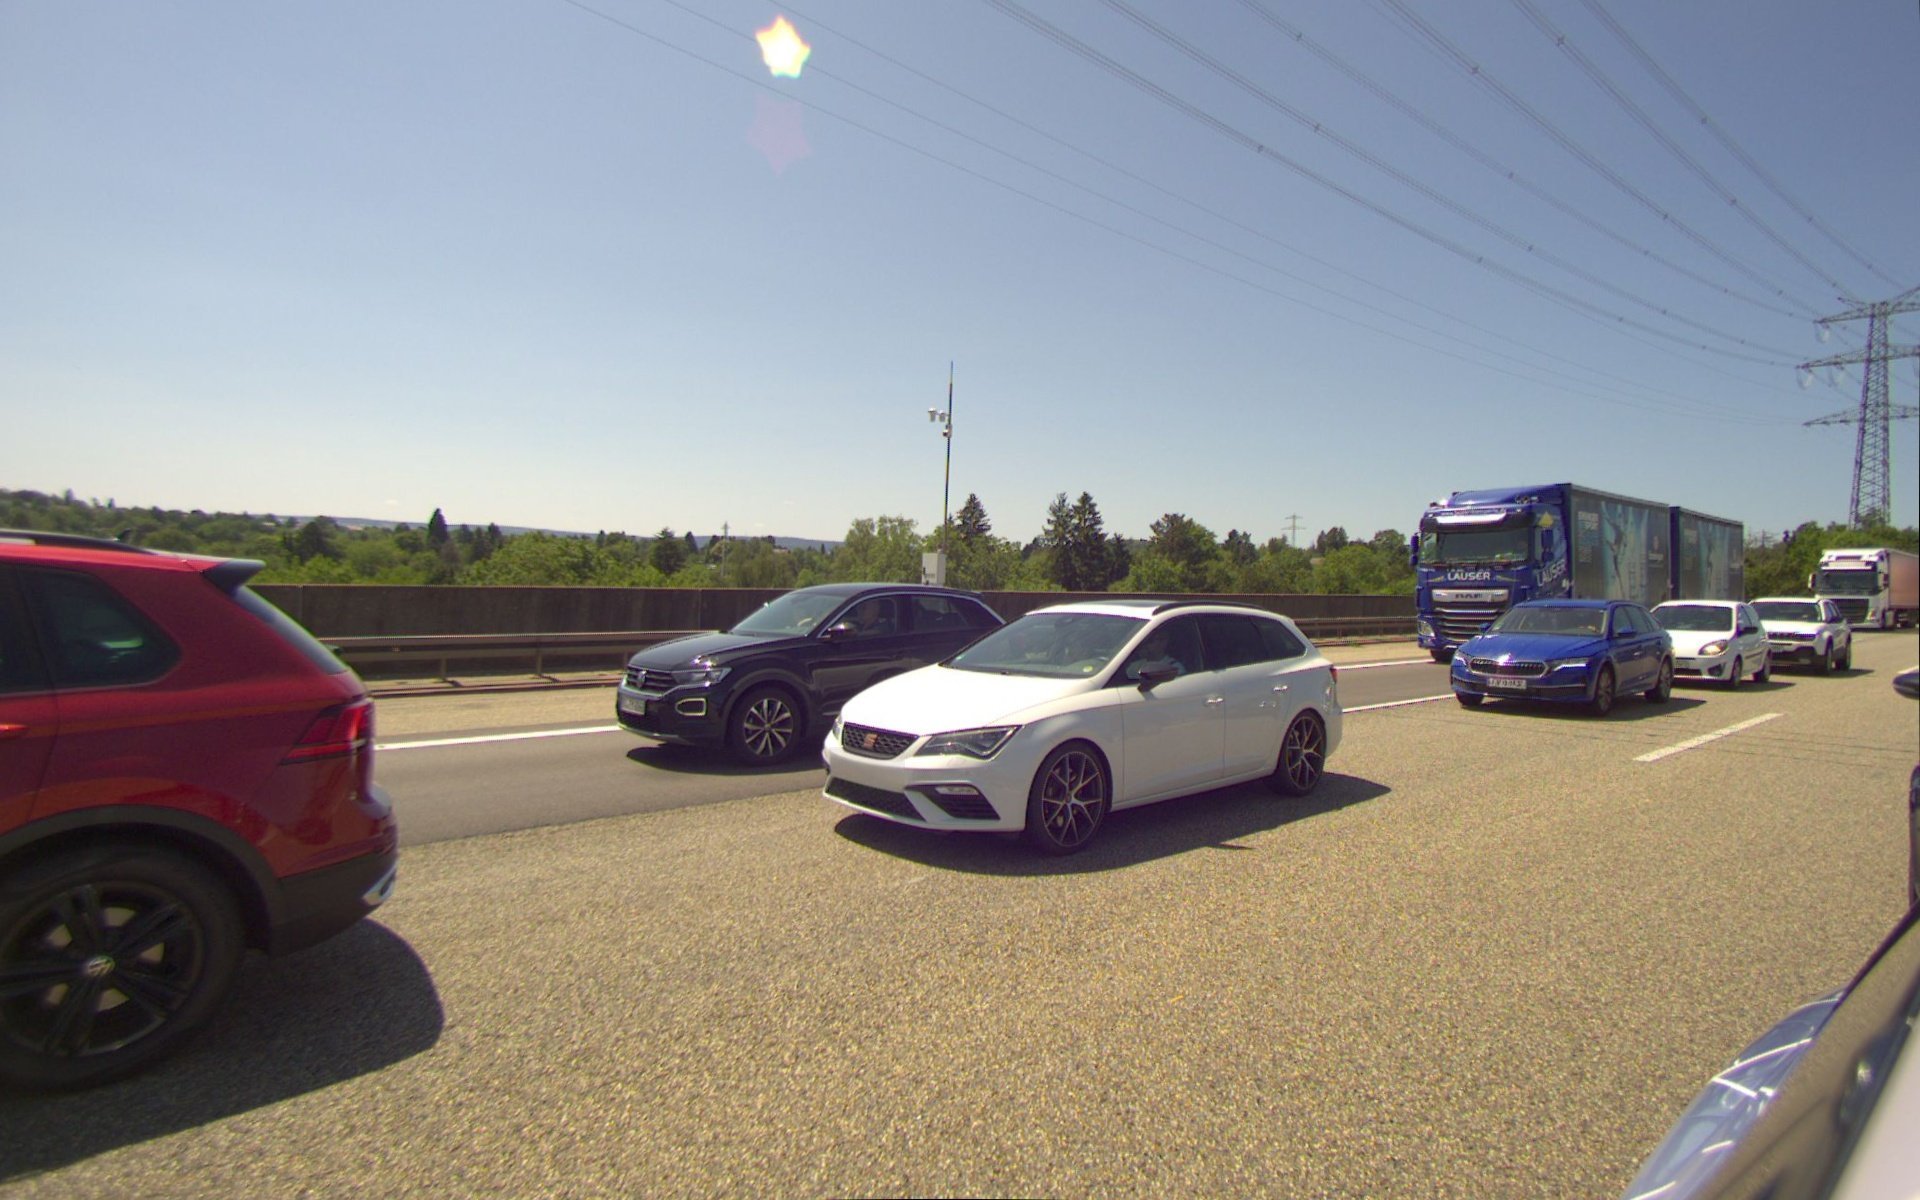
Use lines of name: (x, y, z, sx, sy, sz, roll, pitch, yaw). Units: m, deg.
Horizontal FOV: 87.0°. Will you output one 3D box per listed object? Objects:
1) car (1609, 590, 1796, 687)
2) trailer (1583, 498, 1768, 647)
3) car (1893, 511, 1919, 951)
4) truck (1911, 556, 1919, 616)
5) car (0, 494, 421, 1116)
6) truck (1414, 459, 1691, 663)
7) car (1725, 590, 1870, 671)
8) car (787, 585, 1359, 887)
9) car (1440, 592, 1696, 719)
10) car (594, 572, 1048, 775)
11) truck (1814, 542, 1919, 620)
car: (13.241, 0.601, 17.974, 4.021, 1.522, 1.762, 0, 1, -40)
trailer: (21.873, -0.765, 30.715, 8.329, 3.994, 2.571, 0, 1, -40)
car: (5.669, 0.493, 4.576, 3.931, 1.683, 1.738, 0, 0, -41)
truck: (69.531, -0.993, 71.665, 8.134, 4.133, 2.345, 0, 0, -41)
car: (-3.957, 0.541, 2.715, 4.151, 1.683, 1.778, 0, 1, -41)
truck: (14.771, -0.816, 24.672, 10.262, 4.117, 2.528, 0, 1, -40)
car: (17.631, 0.576, 21.253, 4.024, 1.522, 1.761, 0, 1, -42)
car: (0.983, 0.668, 7.109, 4.003, 1.508, 1.841, 0, 0, -42)
car: (8.421, 0.643, 13.881, 4.135, 1.463, 1.739, 0, 1, -40)
car: (-1.185, 0.551, 9.698, 4.034, 1.546, 1.739, 0, 0, -41)
truck: (46.496, -0.904, 51.531, 10.776, 3.604, 2.983, 0, 0, -41)
